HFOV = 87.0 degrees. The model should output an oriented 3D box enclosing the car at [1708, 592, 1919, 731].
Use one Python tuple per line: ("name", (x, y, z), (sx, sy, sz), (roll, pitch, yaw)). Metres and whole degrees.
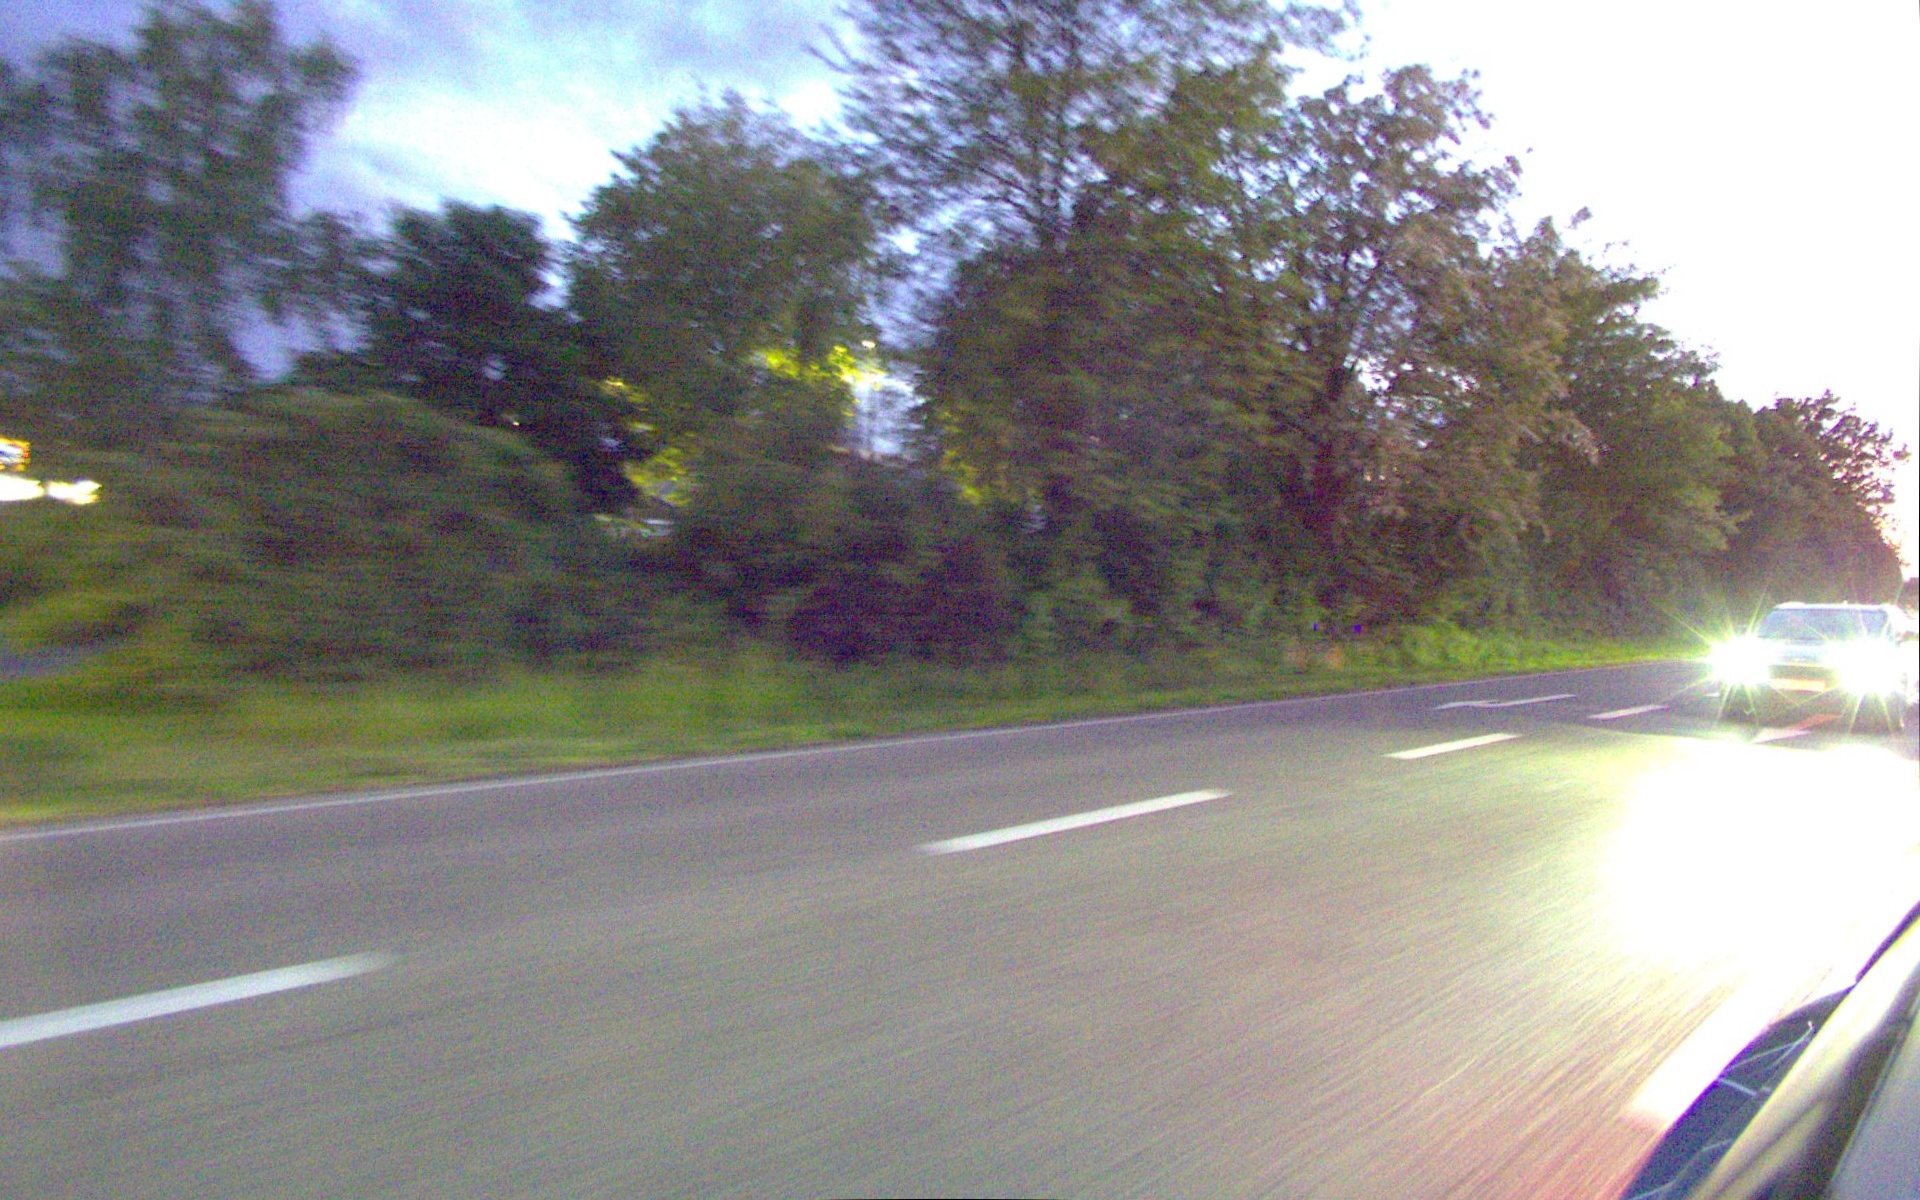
("car", (12.408, 0.743, 14.315), (4.629, 1.630, 1.997), (1, 0, -41))
